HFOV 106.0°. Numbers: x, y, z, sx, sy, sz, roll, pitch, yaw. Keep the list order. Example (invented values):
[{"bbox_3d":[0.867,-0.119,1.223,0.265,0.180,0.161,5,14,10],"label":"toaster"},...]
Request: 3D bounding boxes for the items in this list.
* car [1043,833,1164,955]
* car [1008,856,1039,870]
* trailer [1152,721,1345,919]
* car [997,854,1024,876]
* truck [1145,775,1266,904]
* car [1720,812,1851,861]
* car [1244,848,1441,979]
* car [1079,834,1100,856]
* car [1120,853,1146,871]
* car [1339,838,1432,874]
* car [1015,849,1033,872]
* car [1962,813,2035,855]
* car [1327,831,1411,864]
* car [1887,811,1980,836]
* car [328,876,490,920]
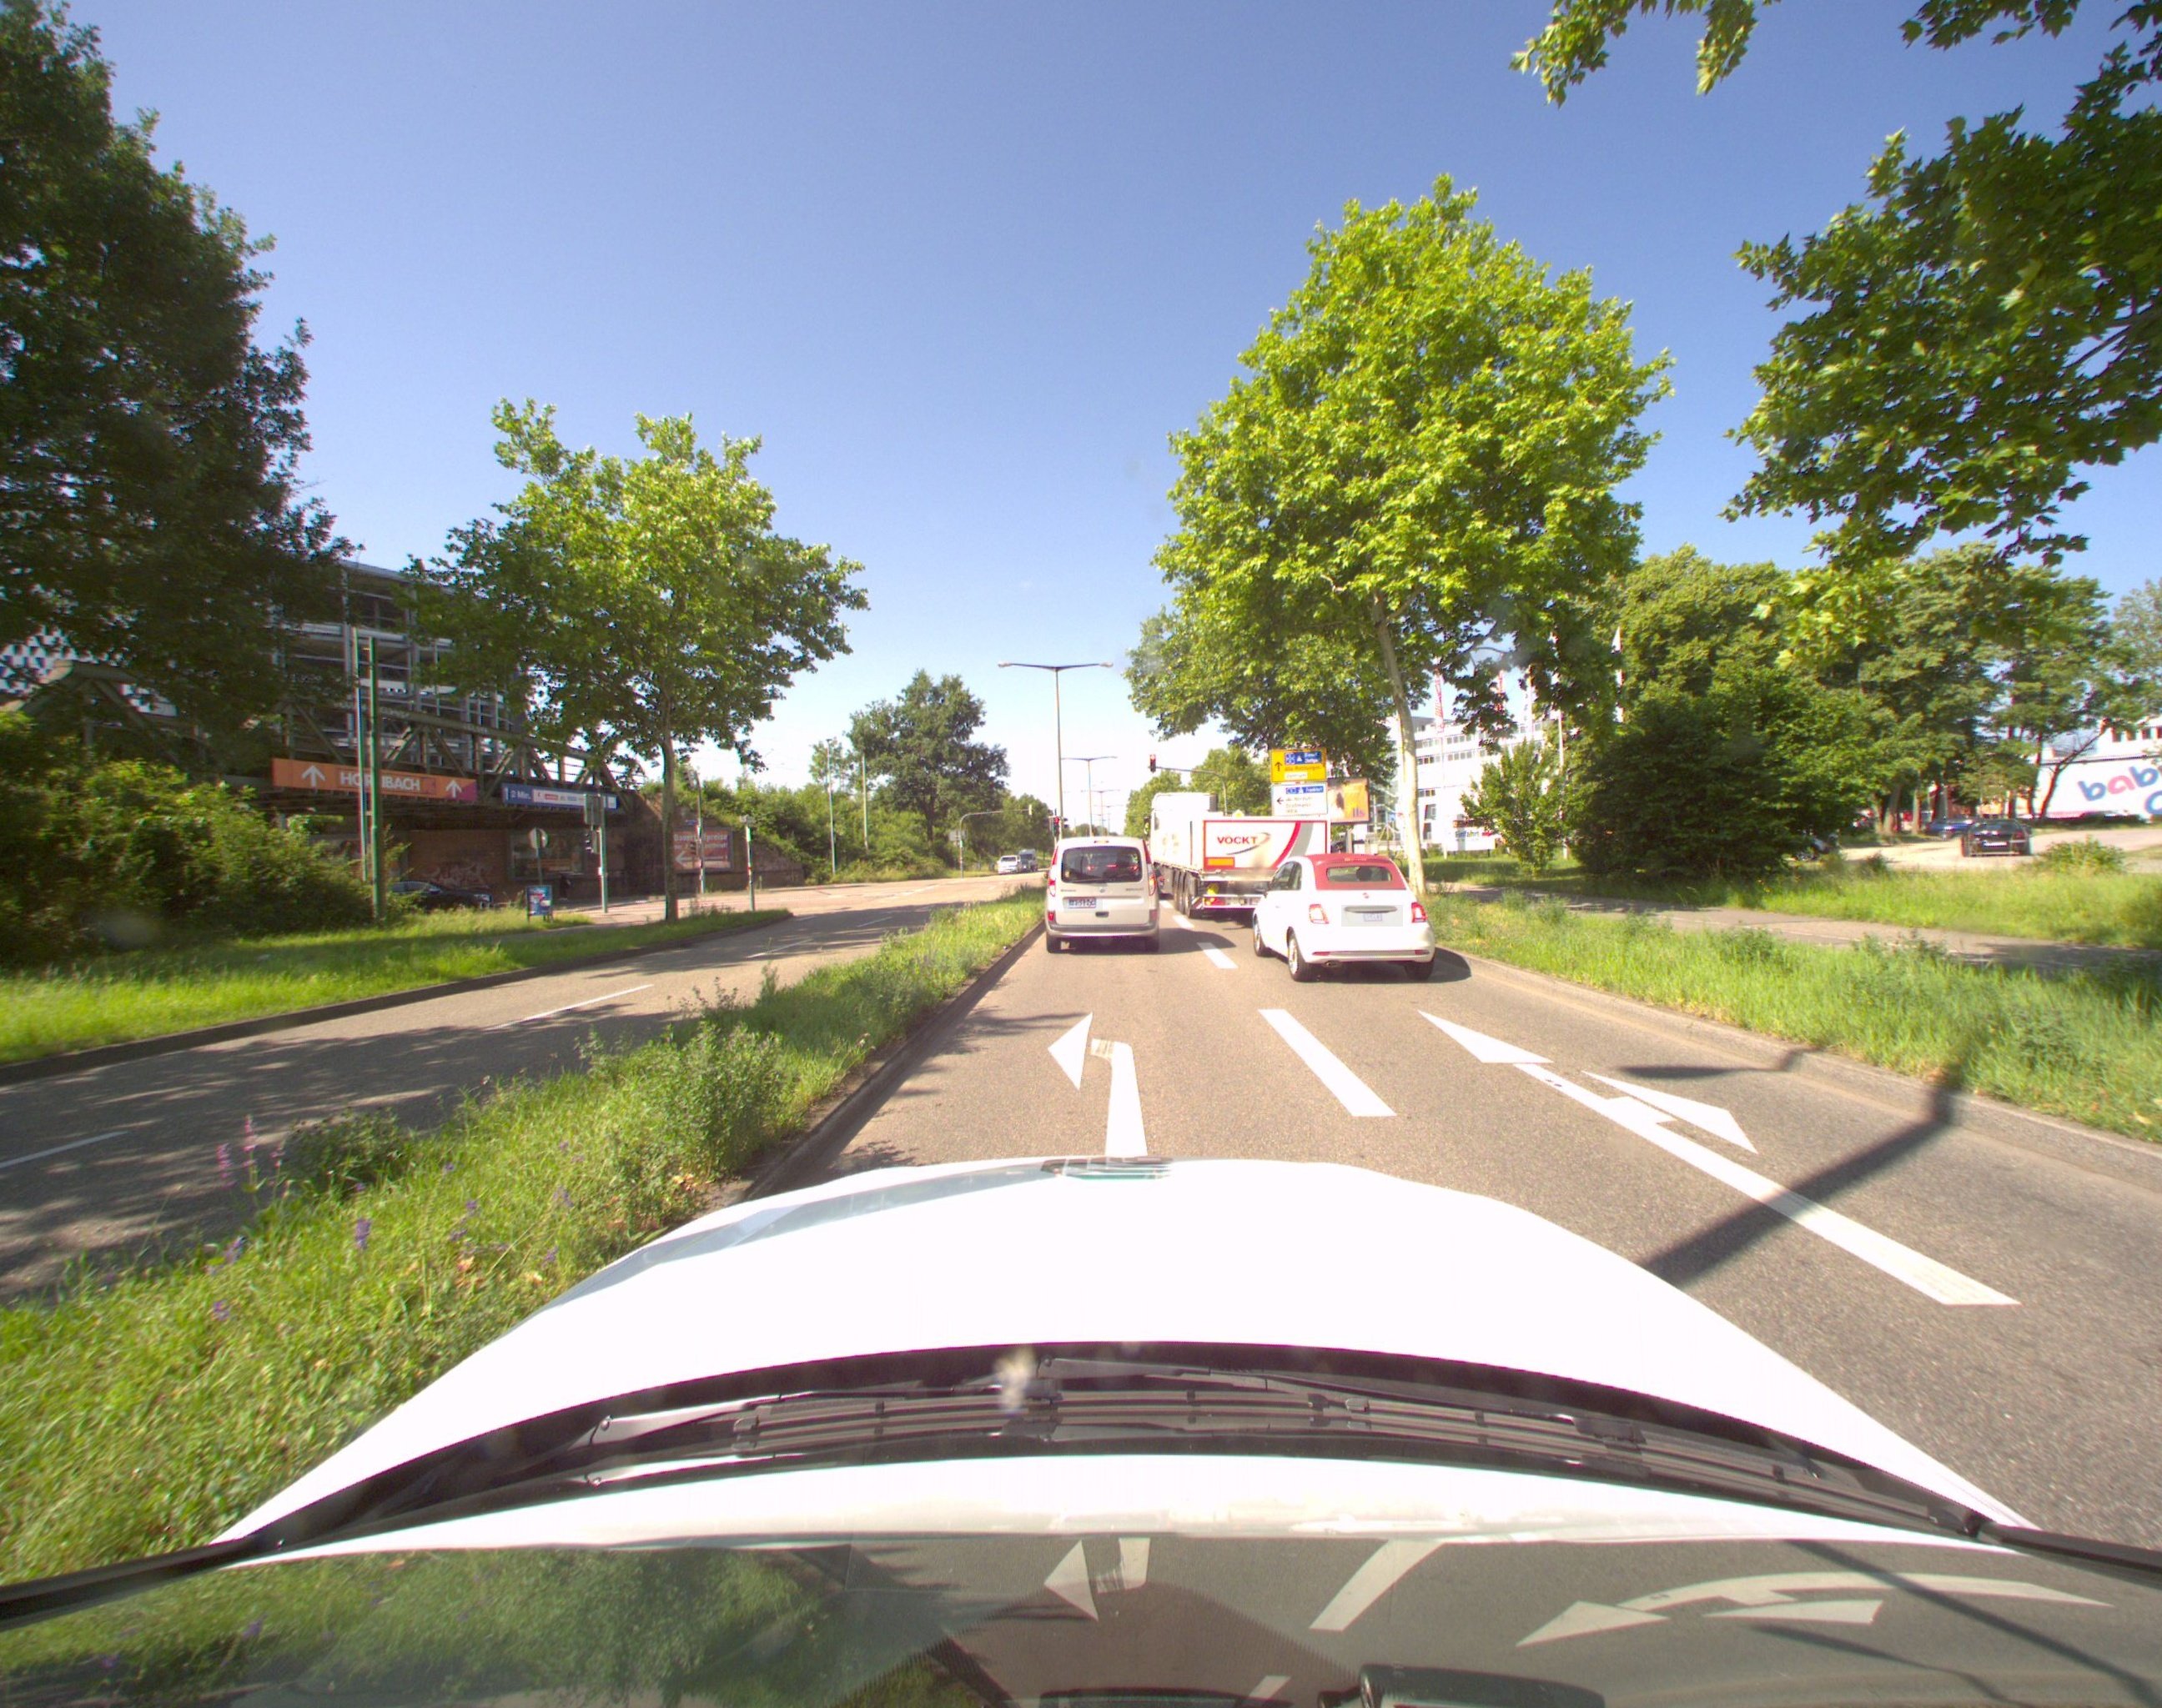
[{"bbox_3d":[0.381,0.603,13.963,1.743,1.772,3.950,-1,0,1],"label":"car"},{"bbox_3d":[-6.267,0.979,88.166,1.920,1.409,4.192,-1,0,-25],"label":"car"},{"bbox_3d":[3.744,-0.621,21.699,3.004,3.740,12.246,-1,0,2],"label":"trailer"},{"bbox_3d":[-6.878,1.056,80.214,1.987,1.891,4.988,-4,0,1],"label":"car"},{"bbox_3d":[3.983,-0.420,27.858,3.061,3.758,7.477,-1,0,1],"label":"truck"},{"bbox_3d":[27.247,-0.639,31.564,1.778,1.716,3.703,-1,-1,-45],"label":"car"},{"bbox_3d":[3.264,0.672,10.850,1.654,1.436,3.523,-1,0,3],"label":"car"},{"bbox_3d":[0.807,-0.865,77.582,1.710,2.014,3.995,-1,0,-4],"label":"car"},{"bbox_3d":[4.991,0.768,78.164,1.989,1.640,3.995,-1,0,-4],"label":"car"},{"bbox_3d":[14.756,0.097,39.652,3.965,1.662,1.726,-1,-1,7],"label":"car"},{"bbox_3d":[-6.697,0.802,95.840,2.055,2.614,5.860,-1,0,-4],"label":"car"},{"bbox_3d":[35.309,-0.744,31.415,3.746,1.515,1.754,-1,-1,-43],"label":"car"},{"bbox_3d":[15.338,-0.338,43.515,3.965,1.662,1.726,-1,-1,7],"label":"car"},{"bbox_3d":[56.622,-1.982,54.173,1.727,1.486,3.961,-1,0,-30],"label":"car"},{"bbox_3d":[-27.712,1.773,33.839,5.075,1.596,1.510,-1,-1,-36],"label":"car"}]
